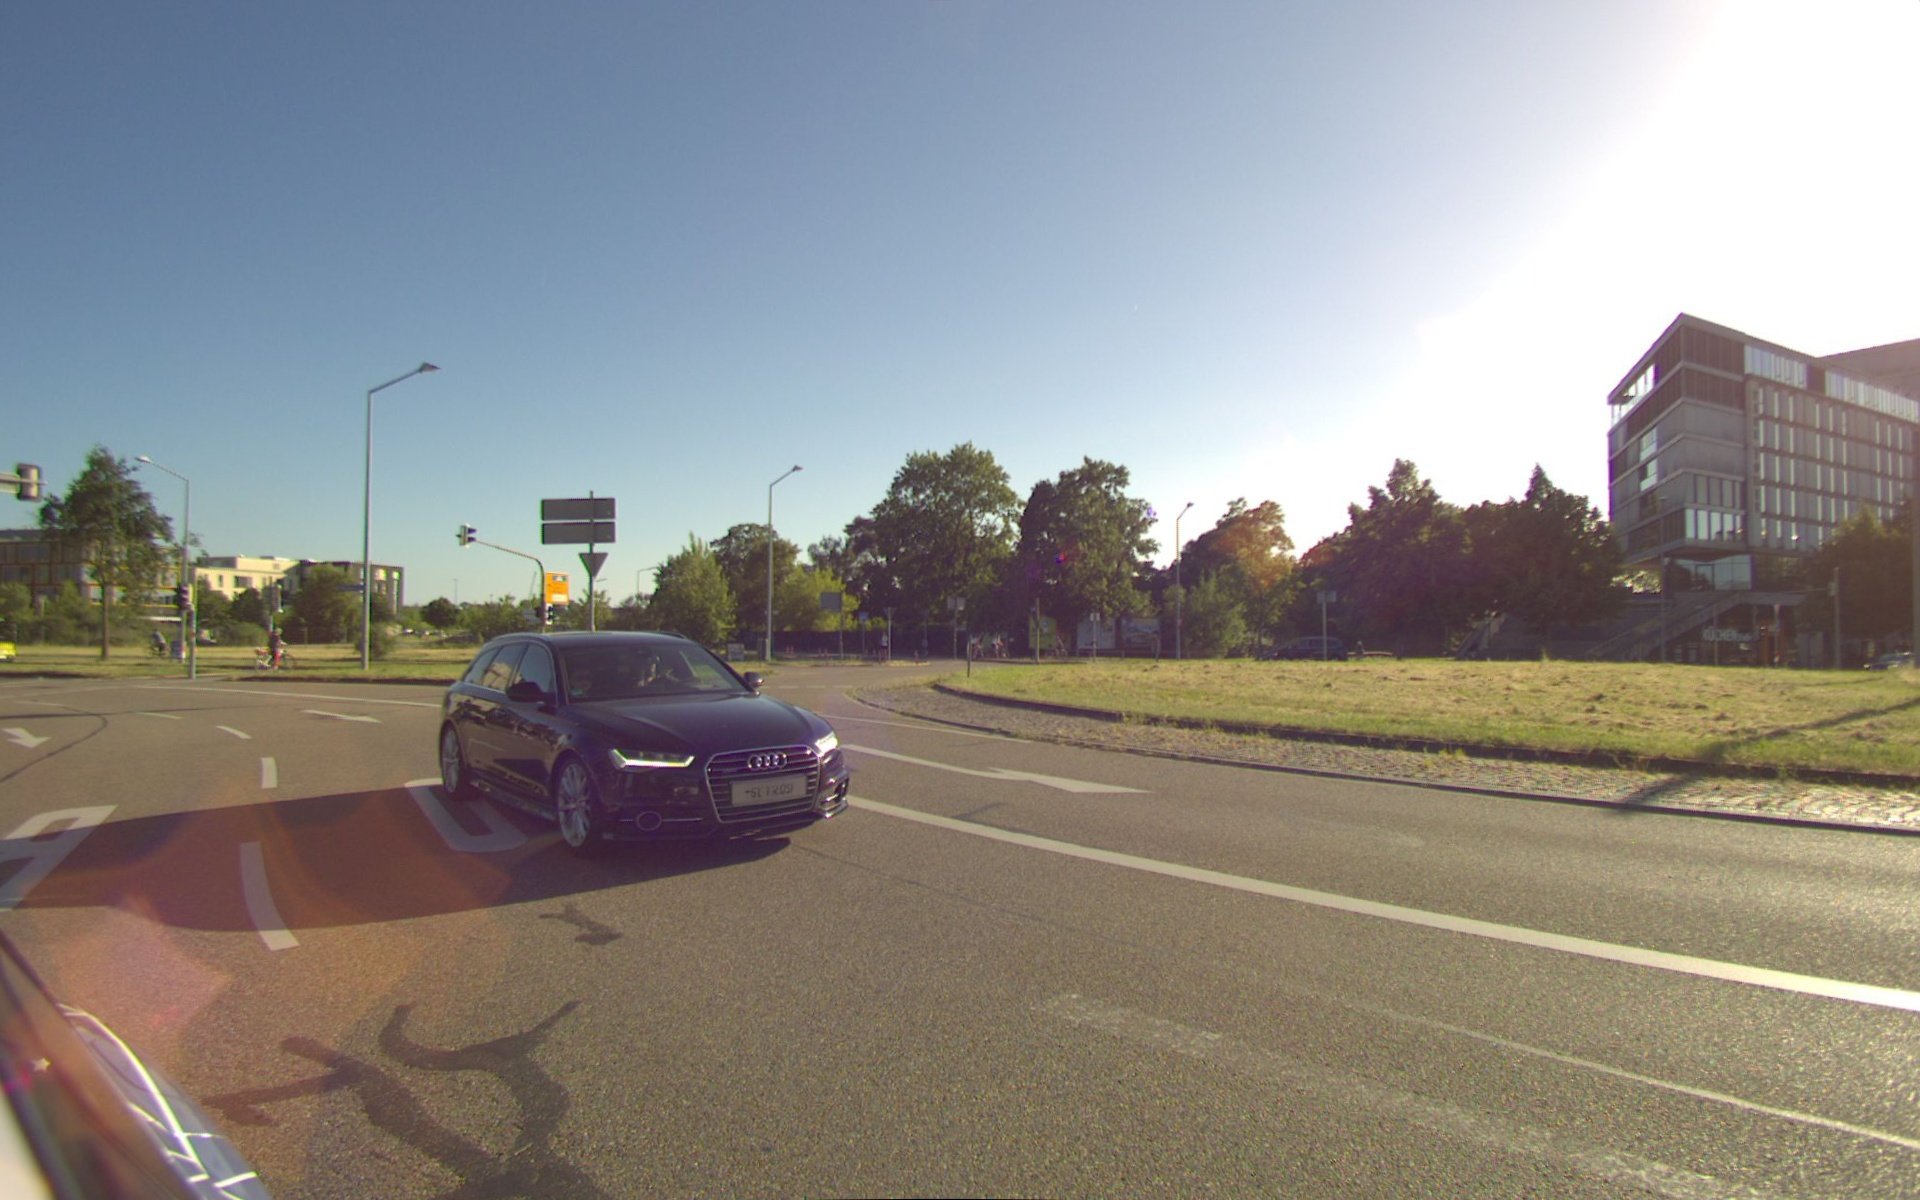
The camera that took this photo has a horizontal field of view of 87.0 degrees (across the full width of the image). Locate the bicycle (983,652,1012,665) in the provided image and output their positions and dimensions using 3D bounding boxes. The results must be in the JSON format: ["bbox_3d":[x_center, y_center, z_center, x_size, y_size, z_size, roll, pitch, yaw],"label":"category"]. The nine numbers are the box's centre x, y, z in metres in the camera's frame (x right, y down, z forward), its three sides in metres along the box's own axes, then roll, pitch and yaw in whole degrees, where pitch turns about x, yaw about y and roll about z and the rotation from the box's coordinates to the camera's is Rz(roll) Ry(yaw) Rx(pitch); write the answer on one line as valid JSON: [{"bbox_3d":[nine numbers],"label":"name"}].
[{"bbox_3d":[2.487,3.855,66.822,1.856,0.859,0.619,1,-3,-26],"label":"bicycle"}]

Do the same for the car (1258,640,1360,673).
[{"bbox_3d":[19.653,3.175,57.220,4.954,1.798,2.457,0,-2,7],"label":"car"}]

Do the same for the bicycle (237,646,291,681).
[{"bbox_3d":[-24.556,2.226,35.727,0.695,1.137,1.654,1,-2,3],"label":"bicycle"}]

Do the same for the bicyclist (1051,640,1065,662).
[{"bbox_3d":[6.946,3.605,71.724,0.821,1.592,0.664,1,-2,-10],"label":"bicyclist"}]

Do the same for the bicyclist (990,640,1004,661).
[{"bbox_3d":[2.441,3.332,66.892,0.706,1.403,0.619,1,-3,-26],"label":"bicyclist"}]

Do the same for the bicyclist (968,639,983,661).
[{"bbox_3d":[1.042,3.311,67.129,0.823,1.403,0.619,1,-3,-26],"label":"bicyclist"}]

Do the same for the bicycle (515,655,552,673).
[{"bbox_3d":[-21.378,3.178,50.775,0.612,0.859,1.877,-1,-2,18],"label":"bicycle"}]

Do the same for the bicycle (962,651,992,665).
[{"bbox_3d":[1.127,3.837,67.143,1.856,0.859,0.619,1,-3,-26],"label":"bicycle"}]

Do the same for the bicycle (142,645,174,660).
[{"bbox_3d":[-46.709,3.054,58.927,1.873,0.859,0.488,-1,-3,17],"label":"bicycle"}]

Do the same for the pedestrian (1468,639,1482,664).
[{"bbox_3d":[41.811,4.185,82.152,0.833,2.029,0.631,-1,-3,40],"label":"pedestrian"}]

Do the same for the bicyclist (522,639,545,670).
[{"bbox_3d":[-21.391,2.709,50.744,0.612,1.529,0.919,-1,-3,19],"label":"bicyclist"}]

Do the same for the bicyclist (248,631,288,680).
[{"bbox_3d":[-24.552,1.960,35.936,0.695,1.676,0.942,1,-2,3],"label":"bicyclist"}]

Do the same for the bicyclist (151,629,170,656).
[{"bbox_3d":[-46.508,2.472,58.894,0.844,1.576,0.430,-1,-3,17],"label":"bicyclist"}]

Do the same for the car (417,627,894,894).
[{"bbox_3d":[-2.733,0.969,8.037,1.770,1.454,5.025,1,-3,-40],"label":"car"}]

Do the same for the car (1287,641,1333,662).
[{"bbox_3d":[30.818,4.521,89.192,3.710,1.819,1.829,-1,-2,16],"label":"car"}]

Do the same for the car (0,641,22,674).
[{"bbox_3d":[-46.554,2.681,47.329,4.285,1.553,1.999,-1,-2,15],"label":"car"}]

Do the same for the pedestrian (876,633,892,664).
[{"bbox_3d":[-4.988,3.213,66.694,0.928,2.021,0.590,1,-3,-17],"label":"pedestrian"}]

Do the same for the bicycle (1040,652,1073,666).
[{"bbox_3d":[6.814,4.169,71.699,2.226,0.995,0.664,1,-2,-9],"label":"bicycle"}]

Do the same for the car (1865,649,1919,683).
[{"bbox_3d":[53.141,3.653,56.365,3.862,1.798,1.775,0,-2,-1],"label":"car"}]

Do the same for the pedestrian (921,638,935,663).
[{"bbox_3d":[-2.725,4.289,85.996,0.886,2.029,0.821,3,-3,-35],"label":"pedestrian"}]

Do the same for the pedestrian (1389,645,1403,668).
[{"bbox_3d":[30.845,3.990,71.556,0.754,1.642,0.881,-1,-2,14],"label":"pedestrian"}]
